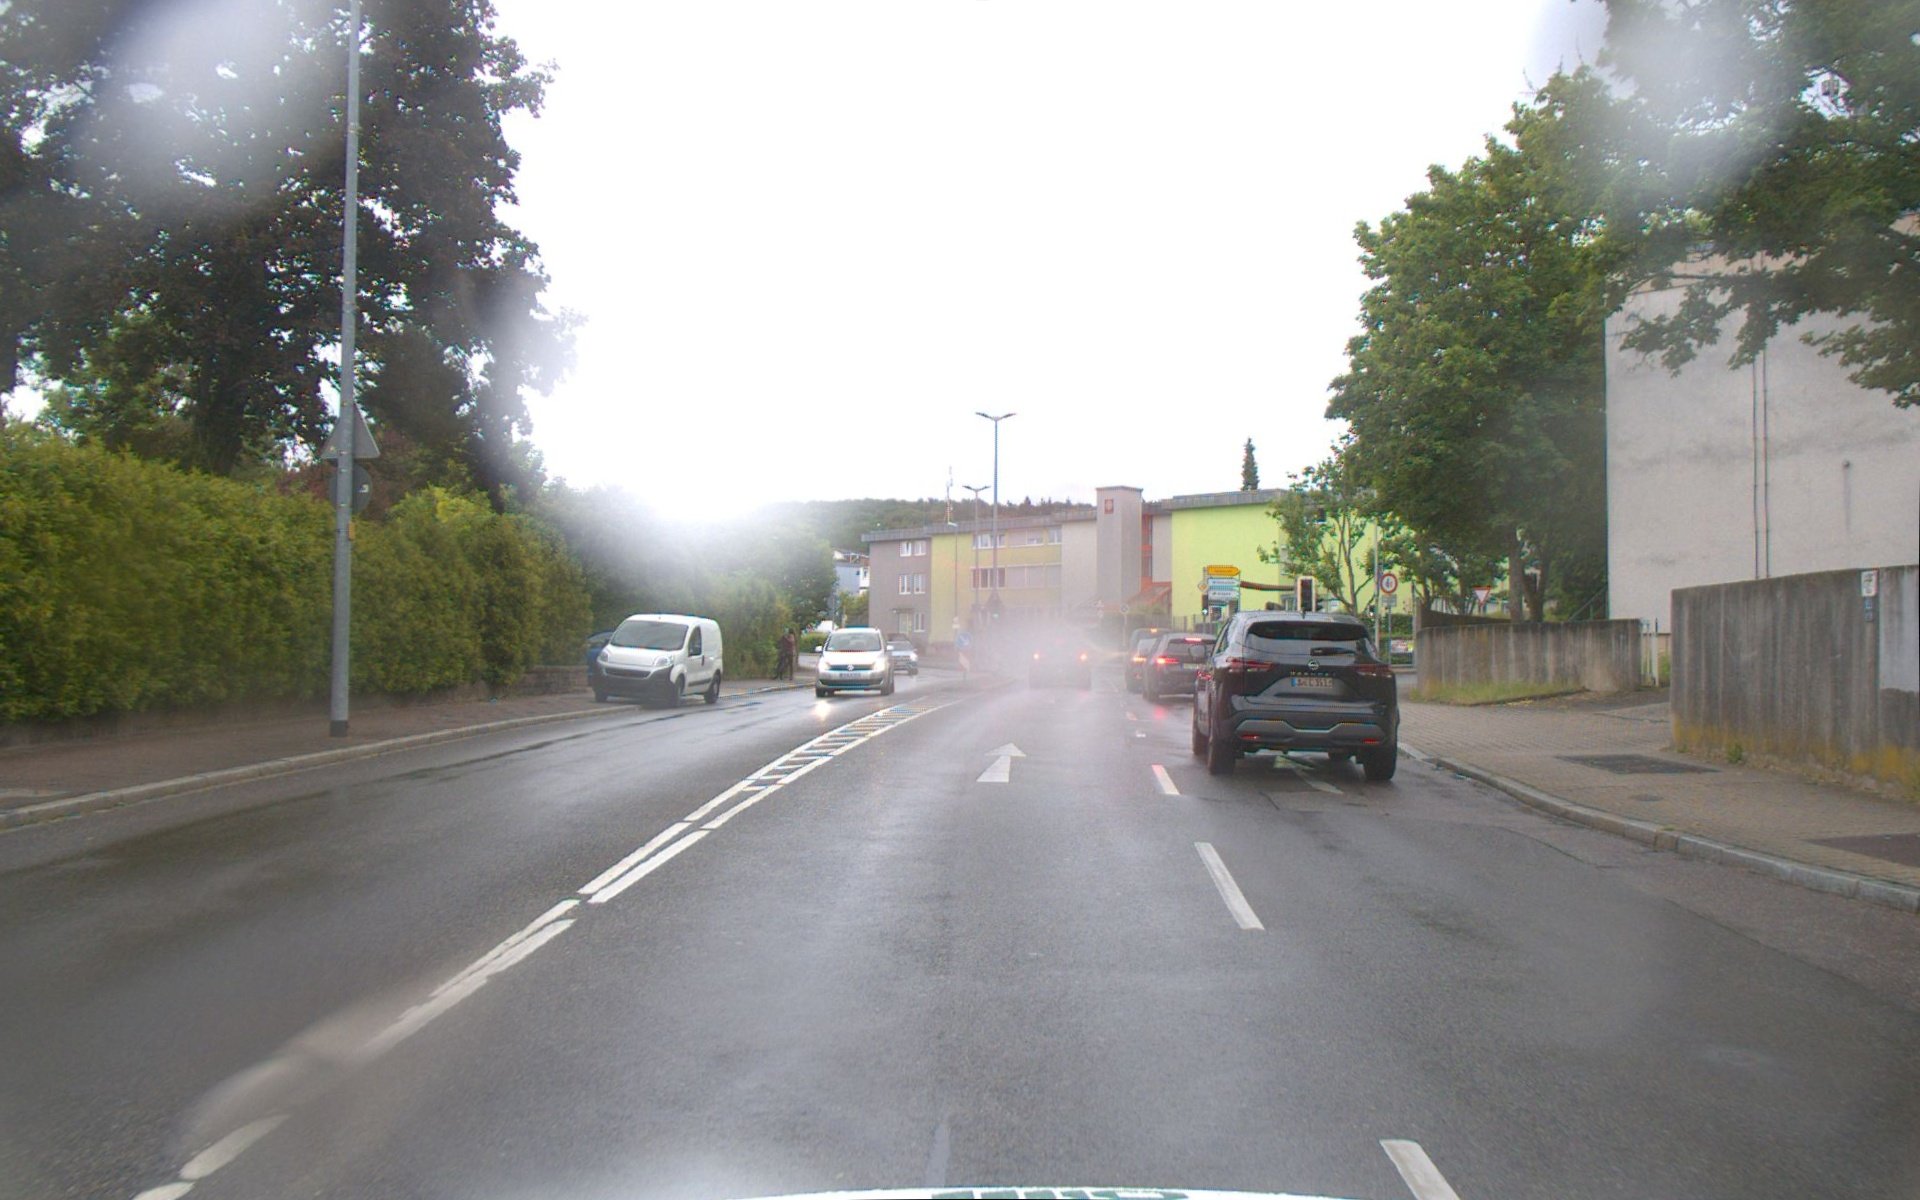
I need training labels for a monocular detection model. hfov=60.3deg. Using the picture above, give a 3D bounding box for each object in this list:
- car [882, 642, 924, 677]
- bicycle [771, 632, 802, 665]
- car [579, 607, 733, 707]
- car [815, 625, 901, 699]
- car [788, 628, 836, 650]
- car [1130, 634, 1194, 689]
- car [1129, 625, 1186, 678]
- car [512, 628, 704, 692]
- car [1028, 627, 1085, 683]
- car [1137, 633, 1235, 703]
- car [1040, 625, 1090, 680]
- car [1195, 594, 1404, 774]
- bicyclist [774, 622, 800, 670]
[{"bbox_3d":[-3.066,3.209,89.852,1.999,1.746,4.481,-1,-1,0],"label":"car"},{"bbox_3d":[-5.984,1.666,57.025,0.731,1.105,1.990,1,-2,3],"label":"bicycle"},{"bbox_3d":[-5.902,1.104,32.561,1.664,1.737,3.981,3,-1,9],"label":"car"},{"bbox_3d":[-2.411,1.464,39.807,1.601,1.607,4.058,-3,-1,2],"label":"car"},{"bbox_3d":[-13.947,3.678,155.788,4.319,1.803,1.993,-2,-2,-13],"label":"car"},{"bbox_3d":[5.623,1.694,46.451,1.670,1.452,4.511,0,-2,6],"label":"car"},{"bbox_3d":[7.102,1.827,59.867,1.746,1.764,4.088,3,0,3],"label":"car"},{"bbox_3d":[-8.776,1.496,41.513,4.392,1.386,1.804,2,0,-2],"label":"car"},{"bbox_3d":[2.970,1.661,50.691,1.647,1.532,3.775,1,0,4],"label":"car"},{"bbox_3d":[5.065,1.512,37.583,1.865,1.484,4.780,0,-1,4],"label":"car"},{"bbox_3d":[3.701,1.823,58.734,1.681,1.877,4.087,1,-1,3],"label":"car"},{"bbox_3d":[3.452,0.768,17.482,1.752,1.631,4.256,1,0,6],"label":"car"},{"bbox_3d":[-5.968,1.587,57.045,0.748,1.640,0.868,1,-2,3],"label":"bicyclist"}]
